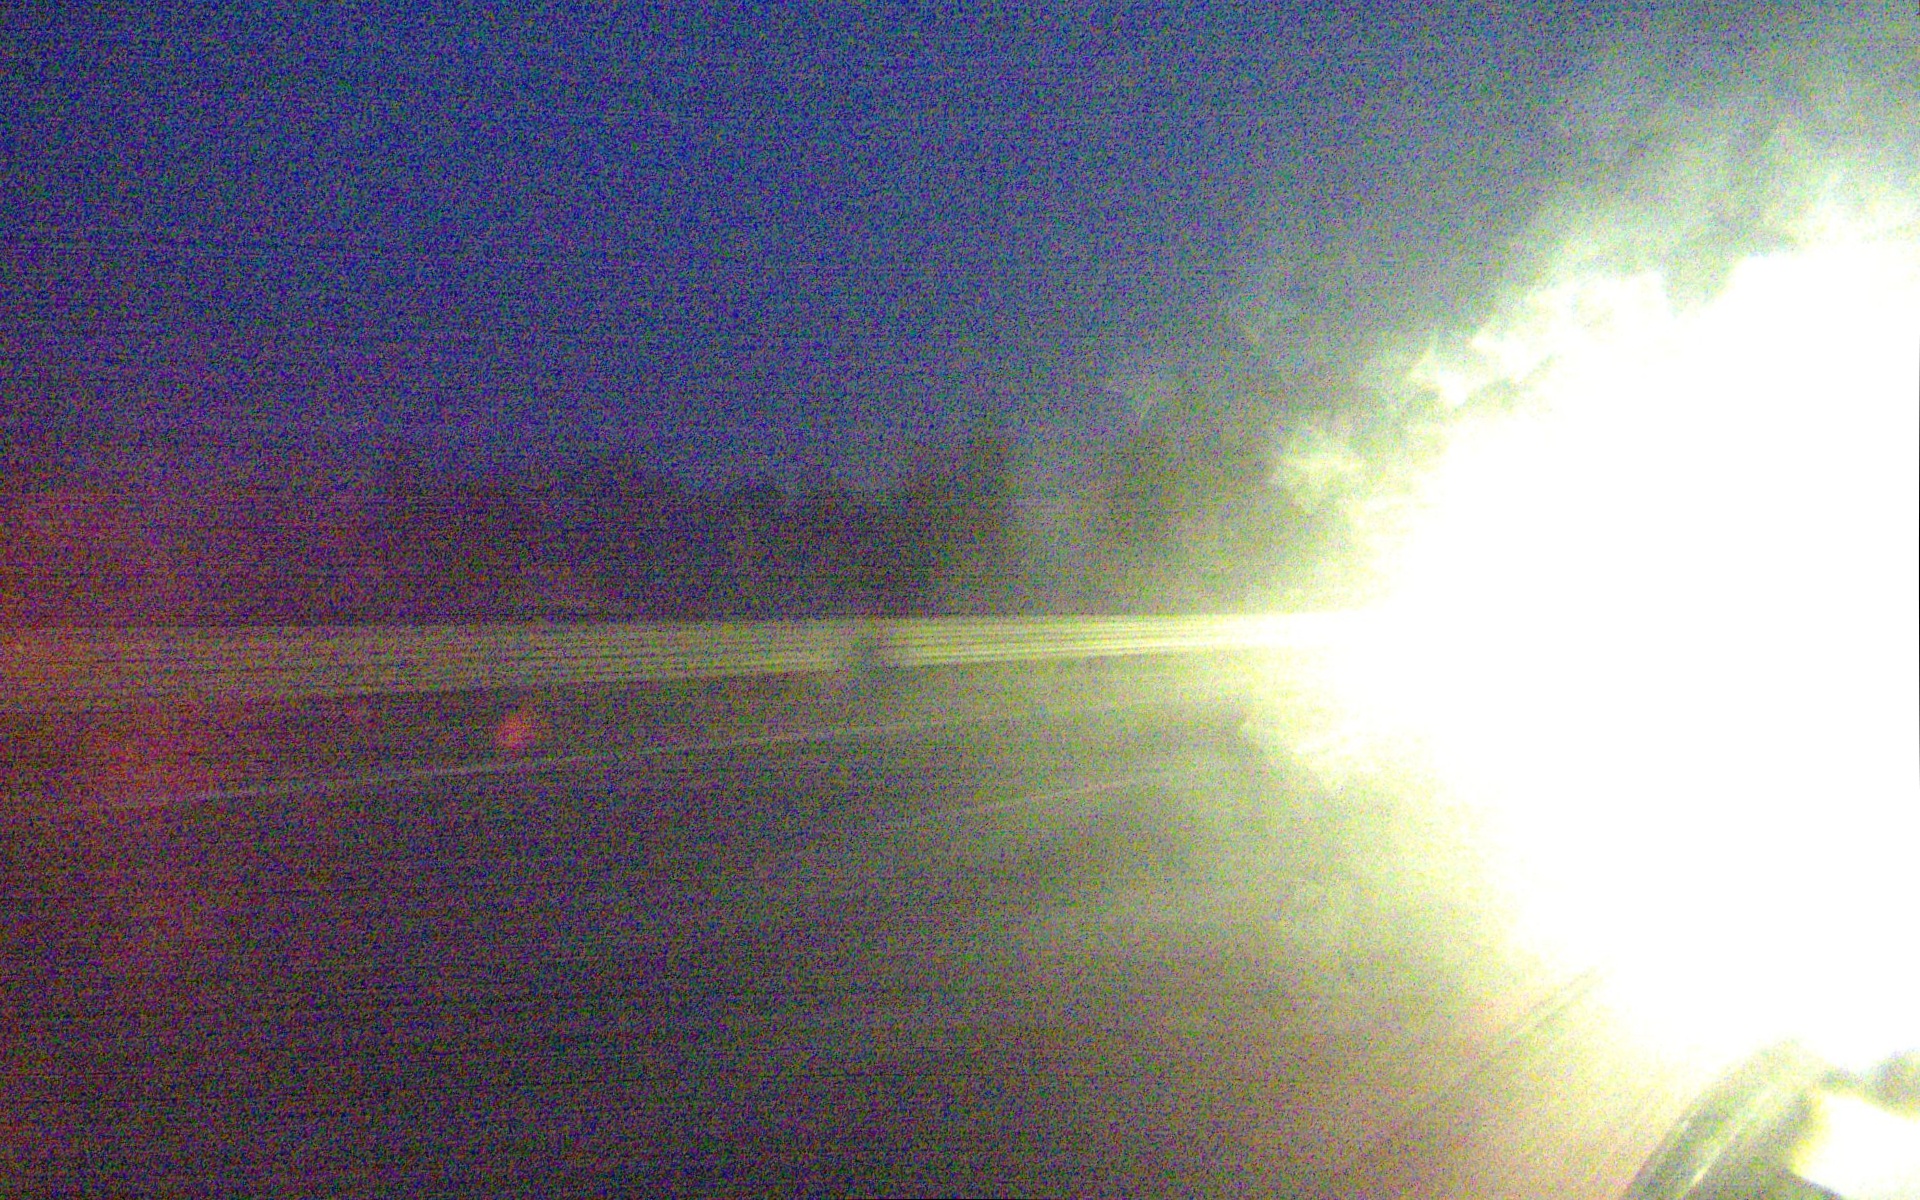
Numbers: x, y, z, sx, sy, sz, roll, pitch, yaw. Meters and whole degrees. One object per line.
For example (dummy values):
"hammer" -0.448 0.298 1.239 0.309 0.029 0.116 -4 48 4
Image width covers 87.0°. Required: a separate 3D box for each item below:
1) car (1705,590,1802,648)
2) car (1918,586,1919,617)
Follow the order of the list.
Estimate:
"car" 22.930 0.518 29.201 3.946 1.522 1.641 0 1 -44
"car" 60.673 0.119 62.460 4.616 1.870 1.830 2 -2 -41
